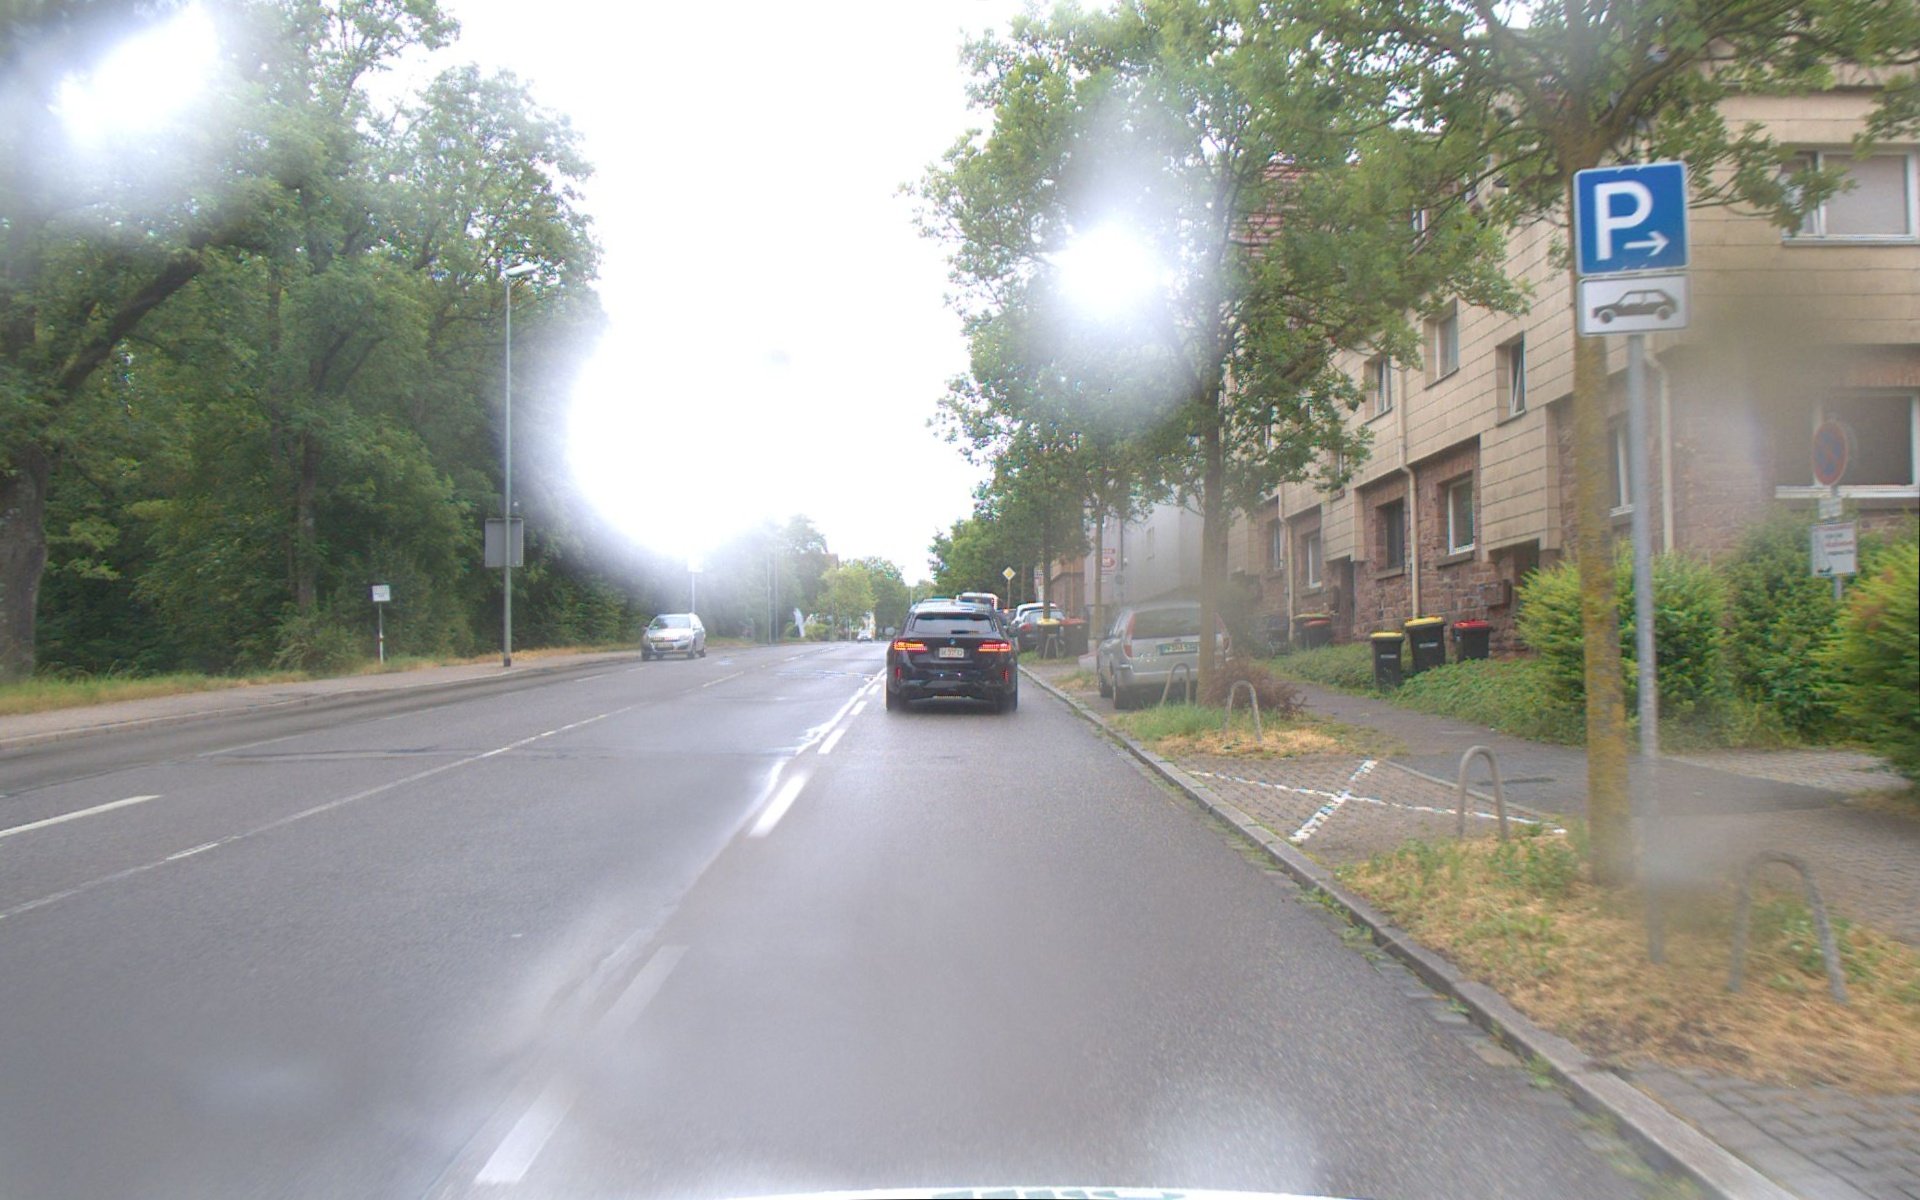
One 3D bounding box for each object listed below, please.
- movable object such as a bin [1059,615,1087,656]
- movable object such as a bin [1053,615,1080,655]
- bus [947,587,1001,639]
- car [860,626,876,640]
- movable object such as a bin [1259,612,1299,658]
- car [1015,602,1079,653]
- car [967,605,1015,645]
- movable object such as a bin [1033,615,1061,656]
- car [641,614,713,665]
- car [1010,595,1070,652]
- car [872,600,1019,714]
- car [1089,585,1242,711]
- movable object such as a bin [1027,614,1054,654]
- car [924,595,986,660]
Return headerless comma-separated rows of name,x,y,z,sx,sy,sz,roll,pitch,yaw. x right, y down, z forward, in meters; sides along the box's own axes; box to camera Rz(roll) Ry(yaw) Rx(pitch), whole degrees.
movable object such as a bin,3.089,0.967,45.074,0.607,1.068,0.822,-3,0,-4
movable object such as a bin,2.961,0.959,45.995,0.607,1.068,0.822,-3,0,-4
bus,0.912,0.746,99.102,2.568,2.897,8.293,-2,0,5
car,-11.193,3.987,201.178,1.734,1.560,3.999,-2,0,-1
movable object such as a bin,6.994,0.761,36.293,0.686,0.982,0.941,1,0,-1
car,2.635,0.841,50.783,1.608,1.474,3.996,-1,-1,-2
car,1.655,1.328,87.592,1.886,1.925,4.764,-4,-2,8
movable object such as a bin,2.373,0.958,45.079,0.607,1.068,0.822,-3,0,-4
car,-9.263,1.262,54.439,1.655,1.508,4.450,-3,0,-2
car,2.676,0.780,56.401,1.787,1.803,4.540,-2,0,0
car,-0.229,0.782,24.361,1.953,1.478,3.999,2,0,-1
car,3.019,0.637,25.183,1.667,1.611,4.643,-4,1,0
movable object such as a bin,2.238,0.949,45.975,0.607,1.068,0.822,-3,0,-4
car,-0.167,0.880,54.230,1.953,2.049,3.999,0,-1,-1
